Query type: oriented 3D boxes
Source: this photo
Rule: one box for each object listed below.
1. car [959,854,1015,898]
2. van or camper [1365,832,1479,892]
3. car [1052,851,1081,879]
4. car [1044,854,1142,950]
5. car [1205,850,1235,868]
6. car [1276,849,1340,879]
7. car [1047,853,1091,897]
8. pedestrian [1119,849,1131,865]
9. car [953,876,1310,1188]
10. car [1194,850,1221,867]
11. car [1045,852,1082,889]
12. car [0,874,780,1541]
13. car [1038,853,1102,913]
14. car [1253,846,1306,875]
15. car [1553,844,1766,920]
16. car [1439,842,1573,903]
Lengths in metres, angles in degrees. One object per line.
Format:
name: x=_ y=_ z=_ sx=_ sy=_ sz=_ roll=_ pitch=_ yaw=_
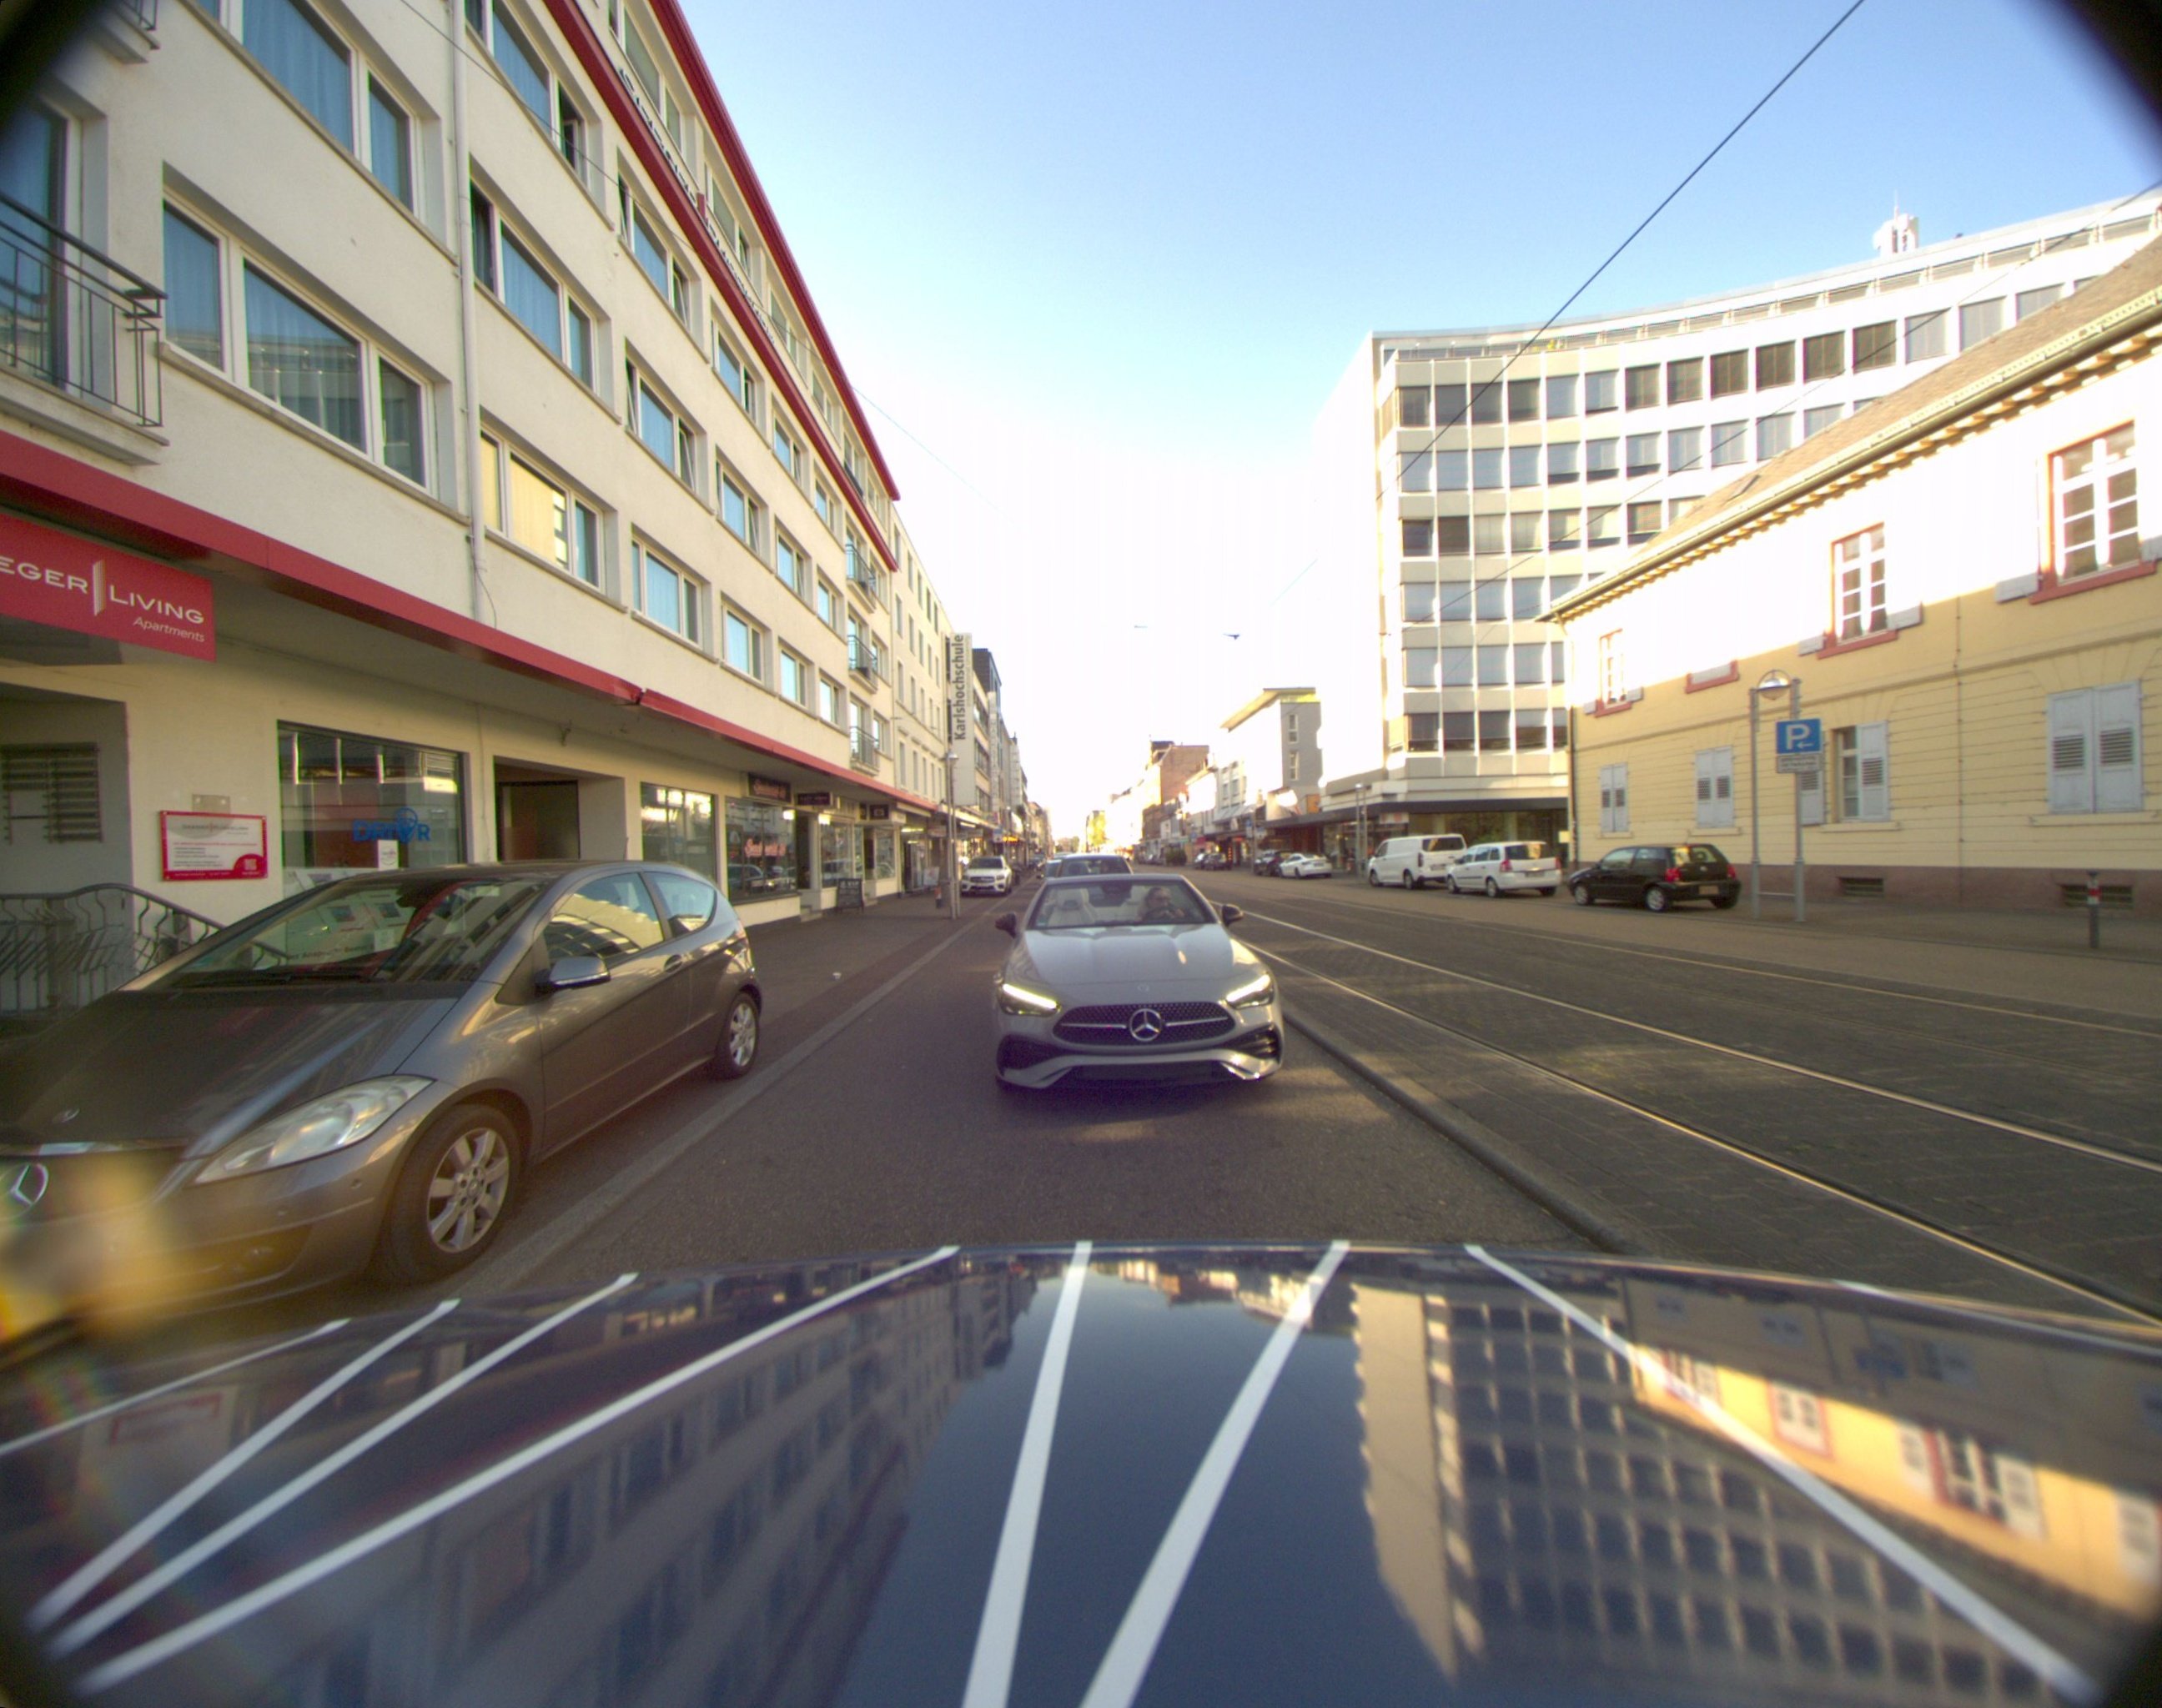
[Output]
car: x=-3.810 y=0.840 z=31.449 sx=1.783 sy=1.654 sz=4.162 roll=0 pitch=1 yaw=0
van or camper: x=12.753 y=0.250 z=28.791 sx=1.960 sy=1.962 sz=4.796 roll=-3 pitch=1 yaw=-2
car: x=-0.864 y=0.639 z=46.535 sx=1.737 sy=1.654 sz=3.960 roll=0 pitch=1 yaw=0
car: x=0.207 y=0.853 z=15.506 sx=1.737 sy=1.654 sz=3.960 roll=0 pitch=1 yaw=0
car: x=11.942 y=0.391 z=65.484 sx=1.786 sy=1.408 sz=3.596 roll=-2 pitch=1 yaw=-2
car: x=12.500 y=0.503 z=42.118 sx=1.931 sy=1.444 sz=4.291 roll=-4 pitch=1 yaw=-5
car: x=-0.489 y=0.832 z=31.911 sx=1.737 sy=1.654 sz=3.960 roll=0 pitch=1 yaw=0
pedestrian: x=5.320 y=0.382 z=92.585 sx=1.007 sy=1.811 sz=1.035 roll=-1 pitch=1 yaw=40
car: x=0.257 y=1.004 z=6.374 sx=1.869 sy=1.431 sz=4.773 roll=0 pitch=1 yaw=0
car: x=11.769 y=0.403 z=70.990 sx=1.786 sy=1.511 sz=3.832 roll=-2 pitch=1 yaw=-1
car: x=-0.821 y=0.772 z=37.393 sx=1.737 sy=1.654 sz=3.781 roll=0 pitch=1 yaw=0
car: x=-3.225 y=0.960 z=3.902 sx=1.781 sy=1.560 sz=3.960 roll=0 pitch=1 yaw=0
car: x=-0.324 y=0.831 z=23.610 sx=1.783 sy=1.654 sz=3.960 roll=0 pitch=1 yaw=0
car: x=12.358 y=0.390 z=47.594 sx=1.931 sy=1.632 sz=4.280 roll=-4 pitch=1 yaw=-3
car: x=12.918 y=0.536 z=17.331 sx=1.781 sy=1.431 sz=3.960 roll=-3 pitch=1 yaw=0
car: x=12.783 y=0.483 z=23.168 sx=1.781 sy=1.611 sz=4.175 roll=-3 pitch=1 yaw=2
